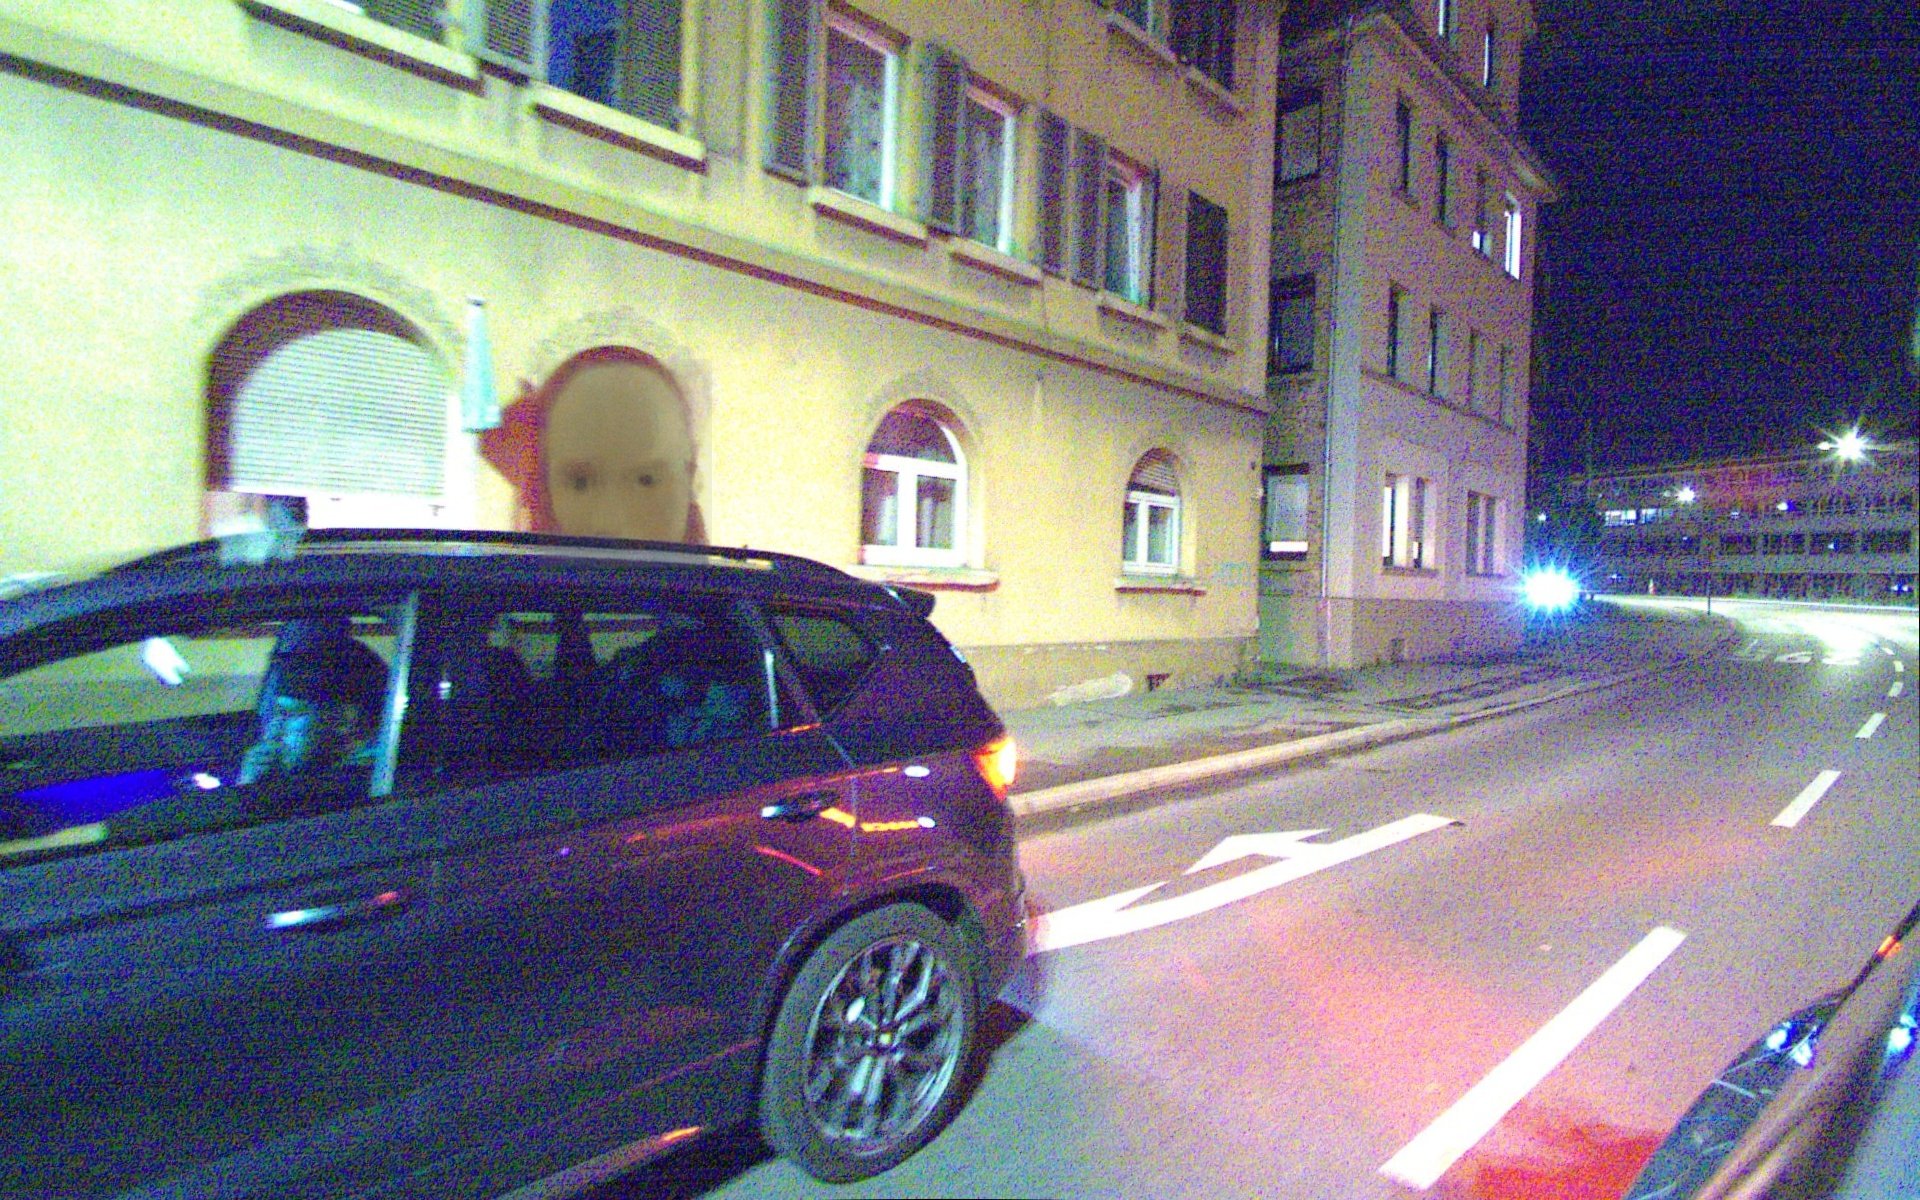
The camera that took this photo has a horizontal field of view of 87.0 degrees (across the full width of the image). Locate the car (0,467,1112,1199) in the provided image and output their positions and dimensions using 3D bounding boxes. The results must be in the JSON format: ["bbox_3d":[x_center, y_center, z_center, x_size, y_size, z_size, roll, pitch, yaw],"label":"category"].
[{"bbox_3d":[-1.618,0.614,2.193,4.160,1.630,1.672,-2,2,-44],"label":"car"}]
